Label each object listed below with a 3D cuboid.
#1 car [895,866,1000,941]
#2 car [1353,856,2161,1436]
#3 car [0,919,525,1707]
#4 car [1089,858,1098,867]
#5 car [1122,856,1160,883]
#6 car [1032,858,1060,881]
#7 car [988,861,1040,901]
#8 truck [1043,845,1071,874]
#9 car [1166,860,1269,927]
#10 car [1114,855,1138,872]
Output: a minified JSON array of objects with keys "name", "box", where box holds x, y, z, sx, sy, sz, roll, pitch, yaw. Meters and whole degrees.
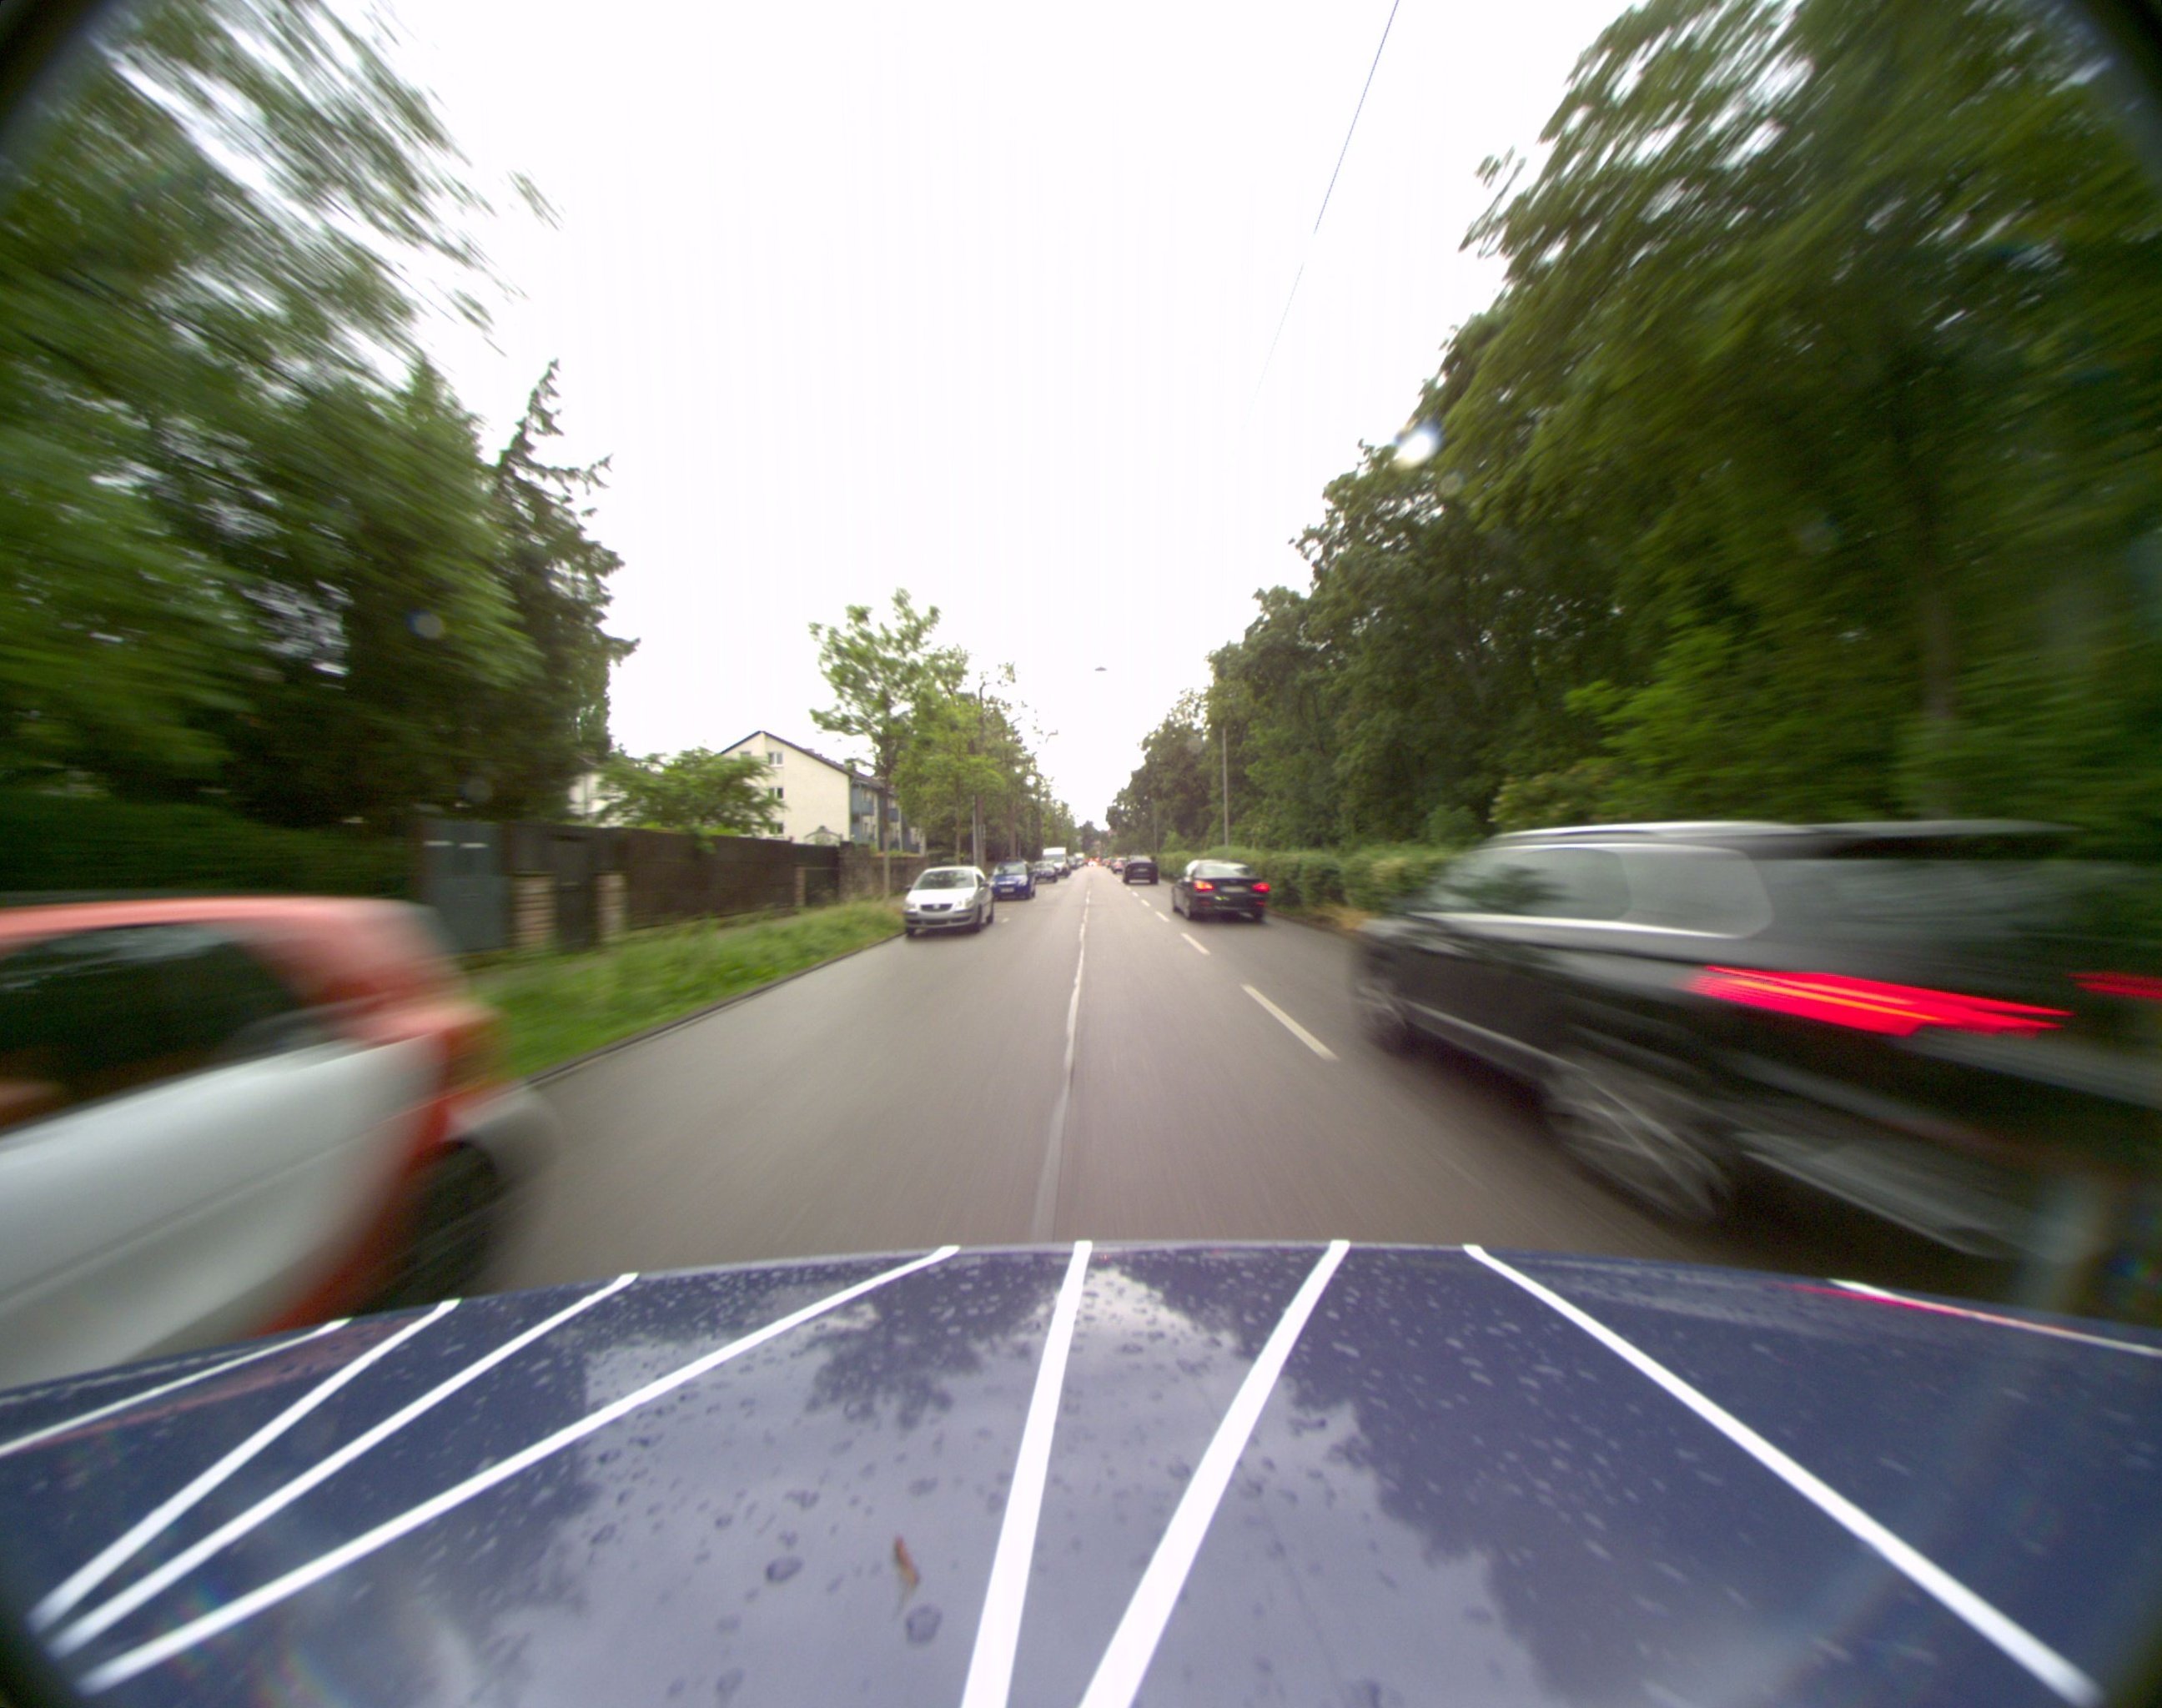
[{"name":"car","box":[-2.942,1.060,17.520,1.675,1.420,3.700,-2,0,1]},{"name":"car","box":[3.050,0.820,4.148,1.680,1.608,4.062,0,0,0]},{"name":"car","box":[-2.985,1.035,1.517,1.601,1.508,2.801,-2,0,1]},{"name":"car","box":[3.078,2.067,188.612,1.998,2.002,4.000,-2,1,2]},{"name":"car","box":[3.441,0.882,43.947,1.851,1.490,3.999,0,0,-1]},{"name":"car","box":[-2.324,1.007,51.383,1.789,1.452,4.000,0,0,0]},{"name":"car","box":[-2.658,1.033,30.703,1.675,1.420,3.700,-2,0,1]},{"name":"truck","box":[-1.994,0.426,63.869,2.230,2.321,5.113,0,0,0]},{"name":"car","box":[3.252,0.897,18.823,1.718,1.438,4.051,0,0,-2]},{"name":"car","box":[4.257,0.912,72.338,1.998,1.543,4.000,0,0,0]}]
